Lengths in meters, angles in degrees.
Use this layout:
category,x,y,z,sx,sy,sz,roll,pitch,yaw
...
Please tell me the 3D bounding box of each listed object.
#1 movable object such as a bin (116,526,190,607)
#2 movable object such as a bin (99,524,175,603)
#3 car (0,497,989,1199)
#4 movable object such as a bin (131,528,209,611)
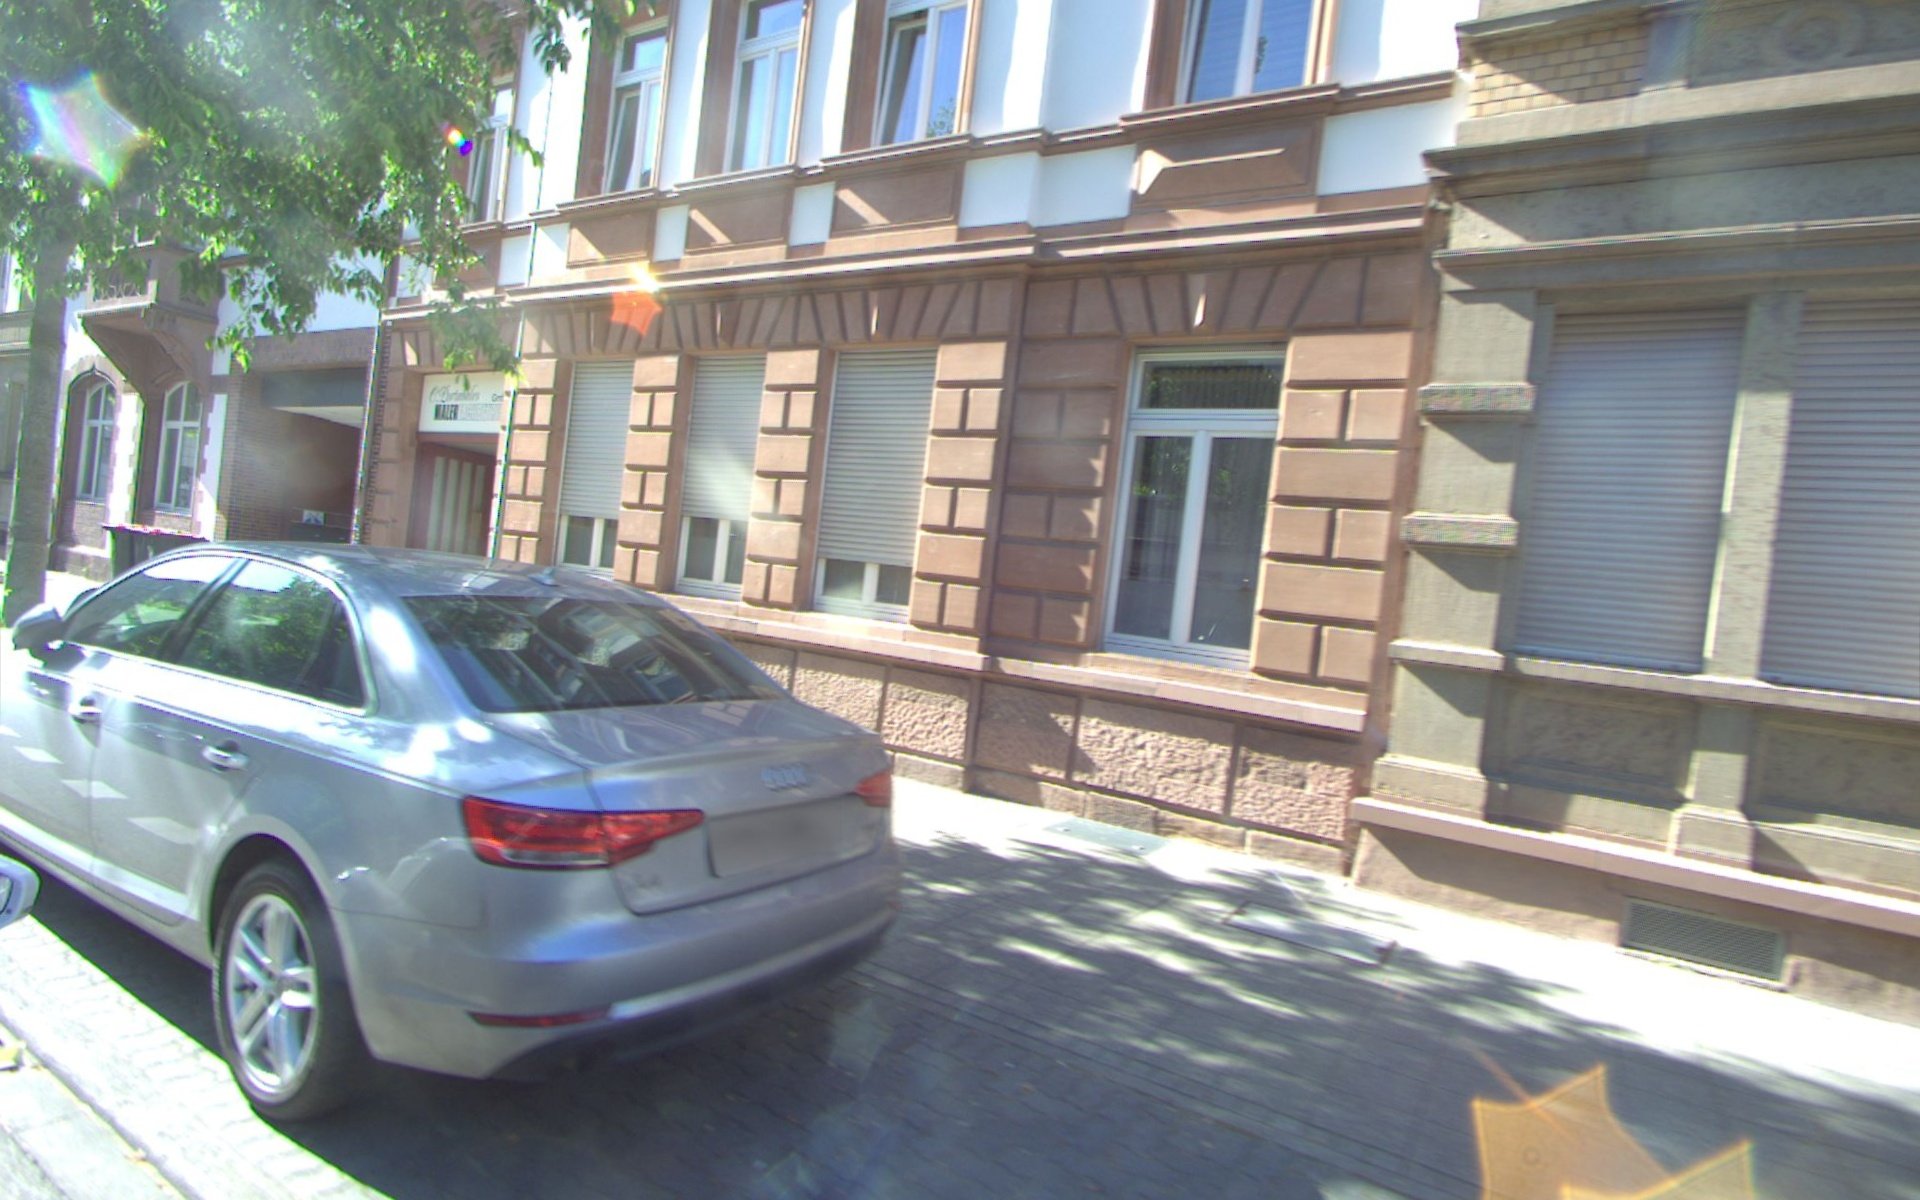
category,x,y,z,sx,sy,sz,roll,pitch,yaw
movable object such as a bin,-11.862,-0.489,14.791,0.513,1.082,0.638,7,1,31
movable object such as a bin,-12.353,-0.547,15.102,0.621,1.082,0.638,7,1,31
car,-2.219,0.529,3.773,4.235,1.469,1.740,7,0,31
movable object such as a bin,-11.390,-0.436,14.507,0.628,1.082,0.638,7,1,31
